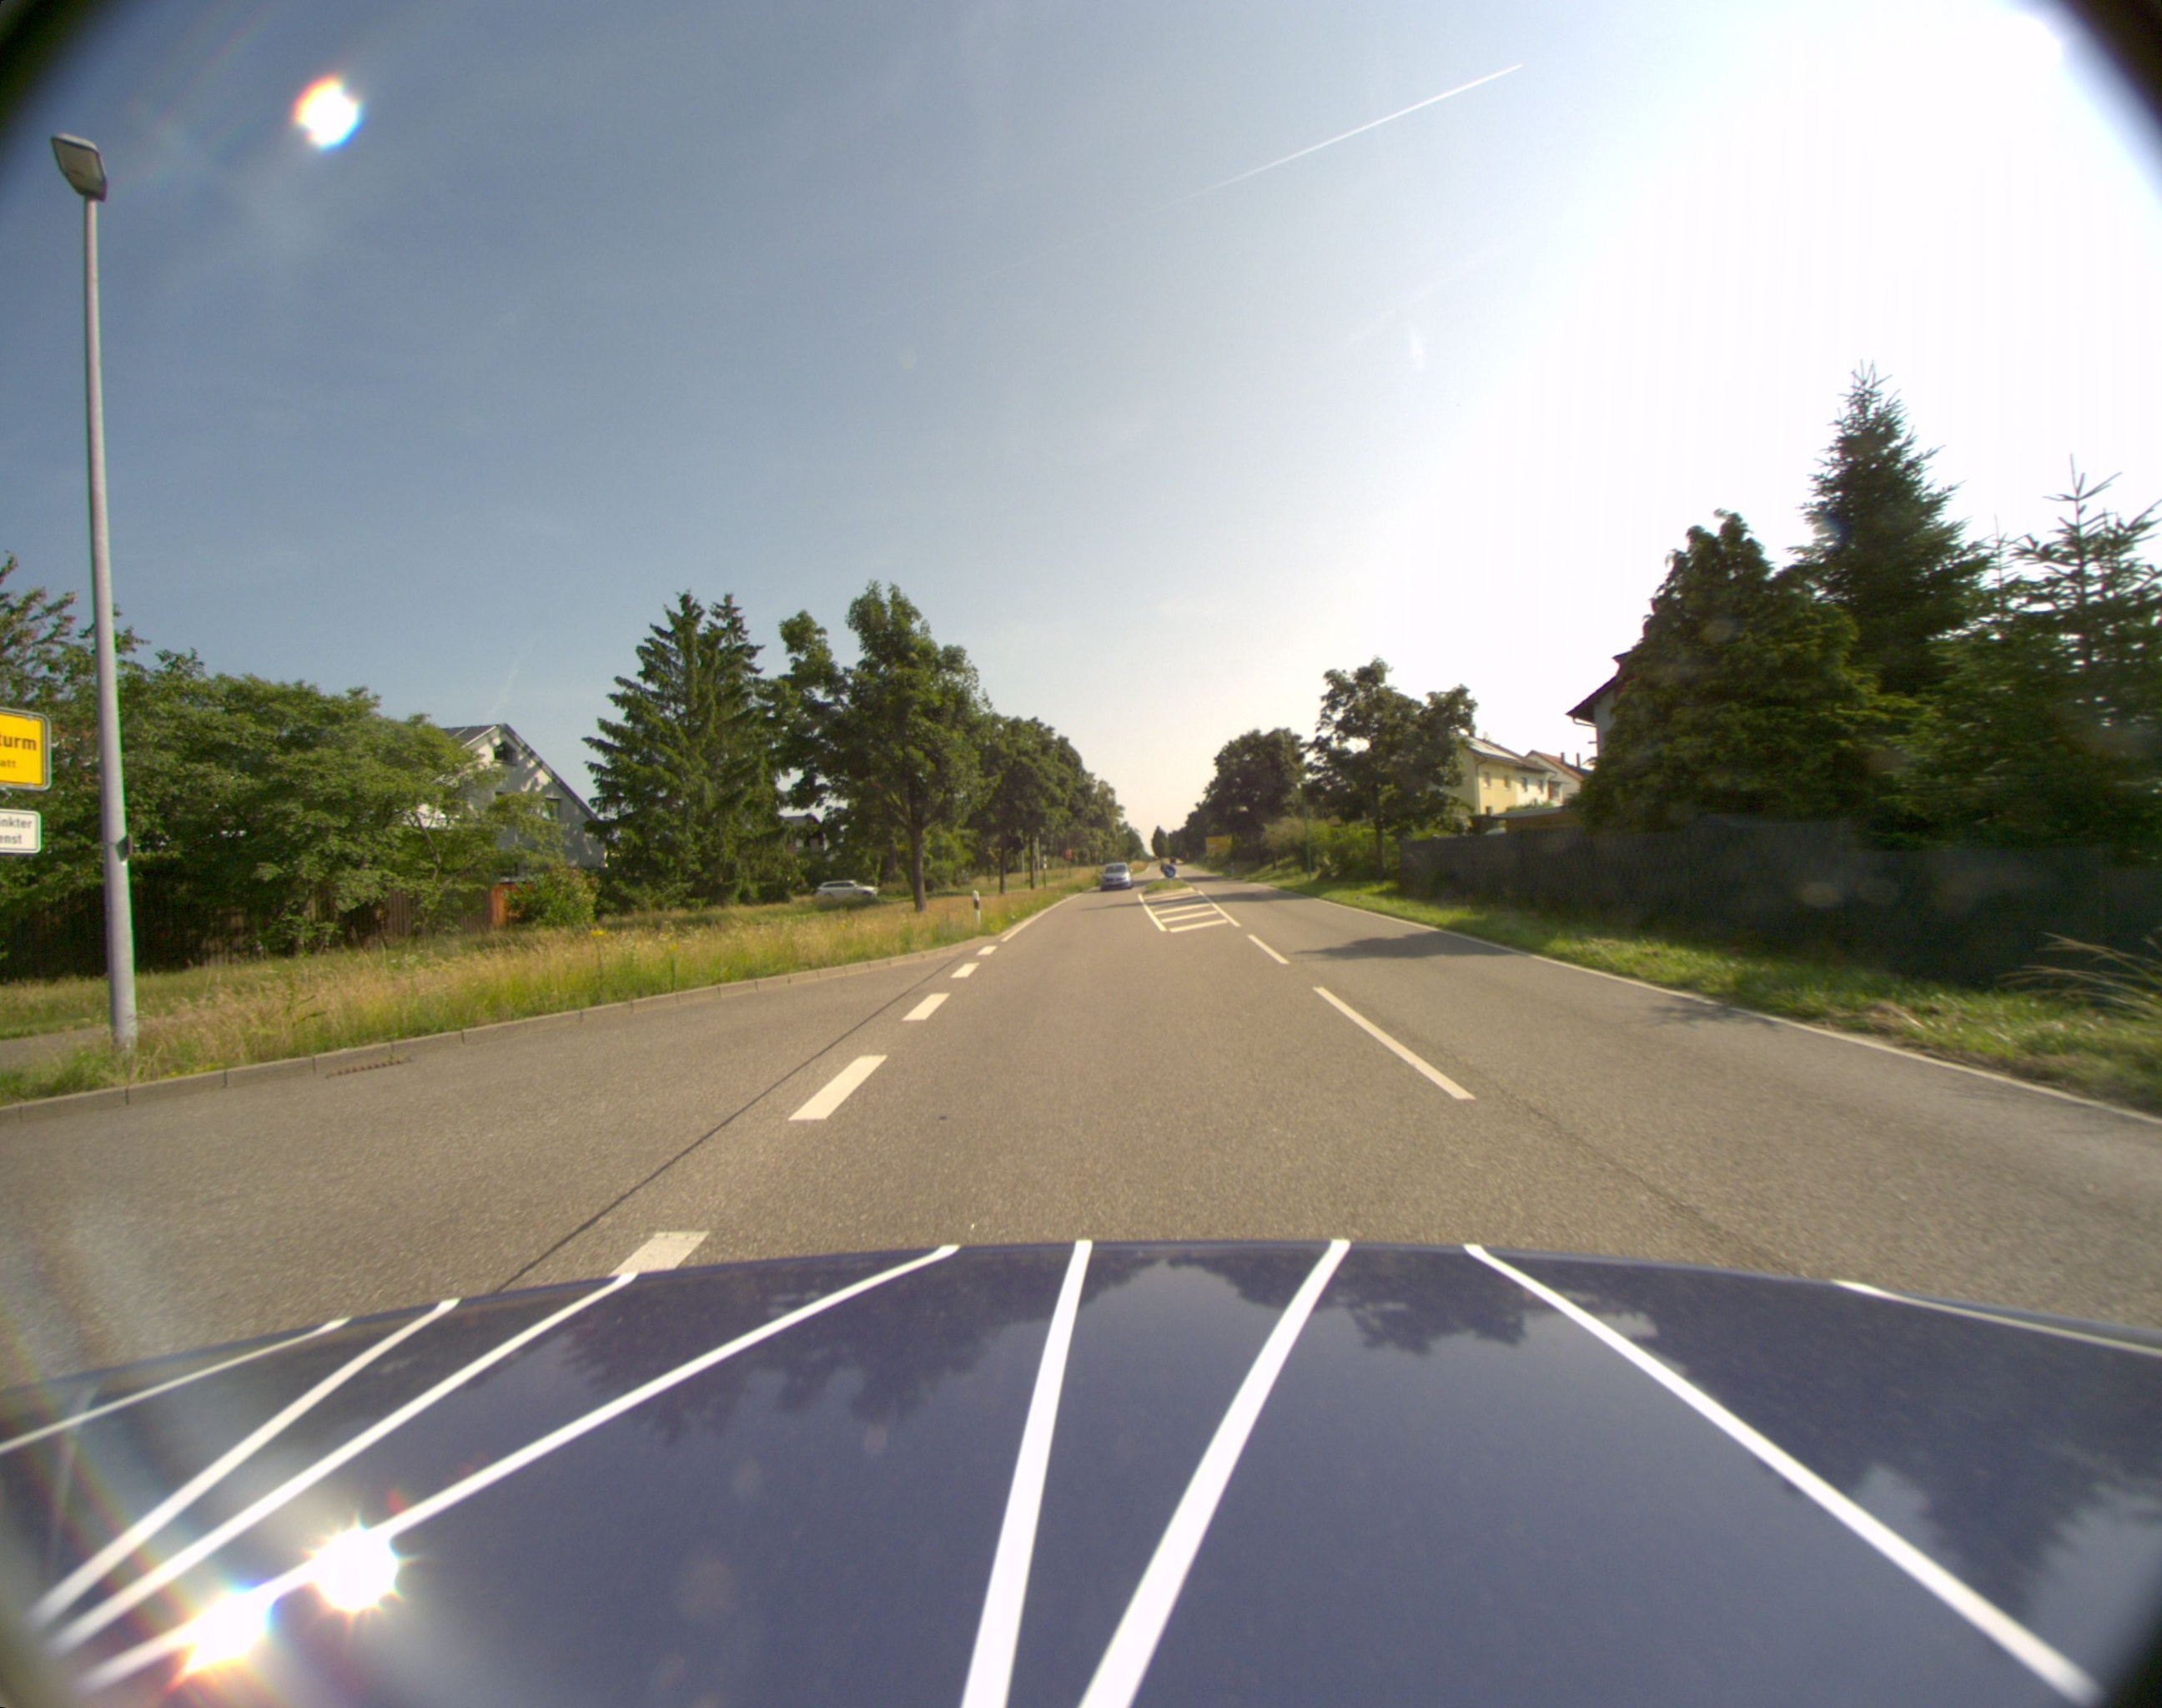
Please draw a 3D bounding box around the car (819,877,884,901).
[{"bbox_3d":[-16.249,2.462,53.980,3.997,1.425,1.815,-3,0,1],"label":"car"}]

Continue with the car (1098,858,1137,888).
[{"bbox_3d":[2.175,1.090,44.689,1.807,1.592,4.272,-4,-1,8],"label":"car"}]
